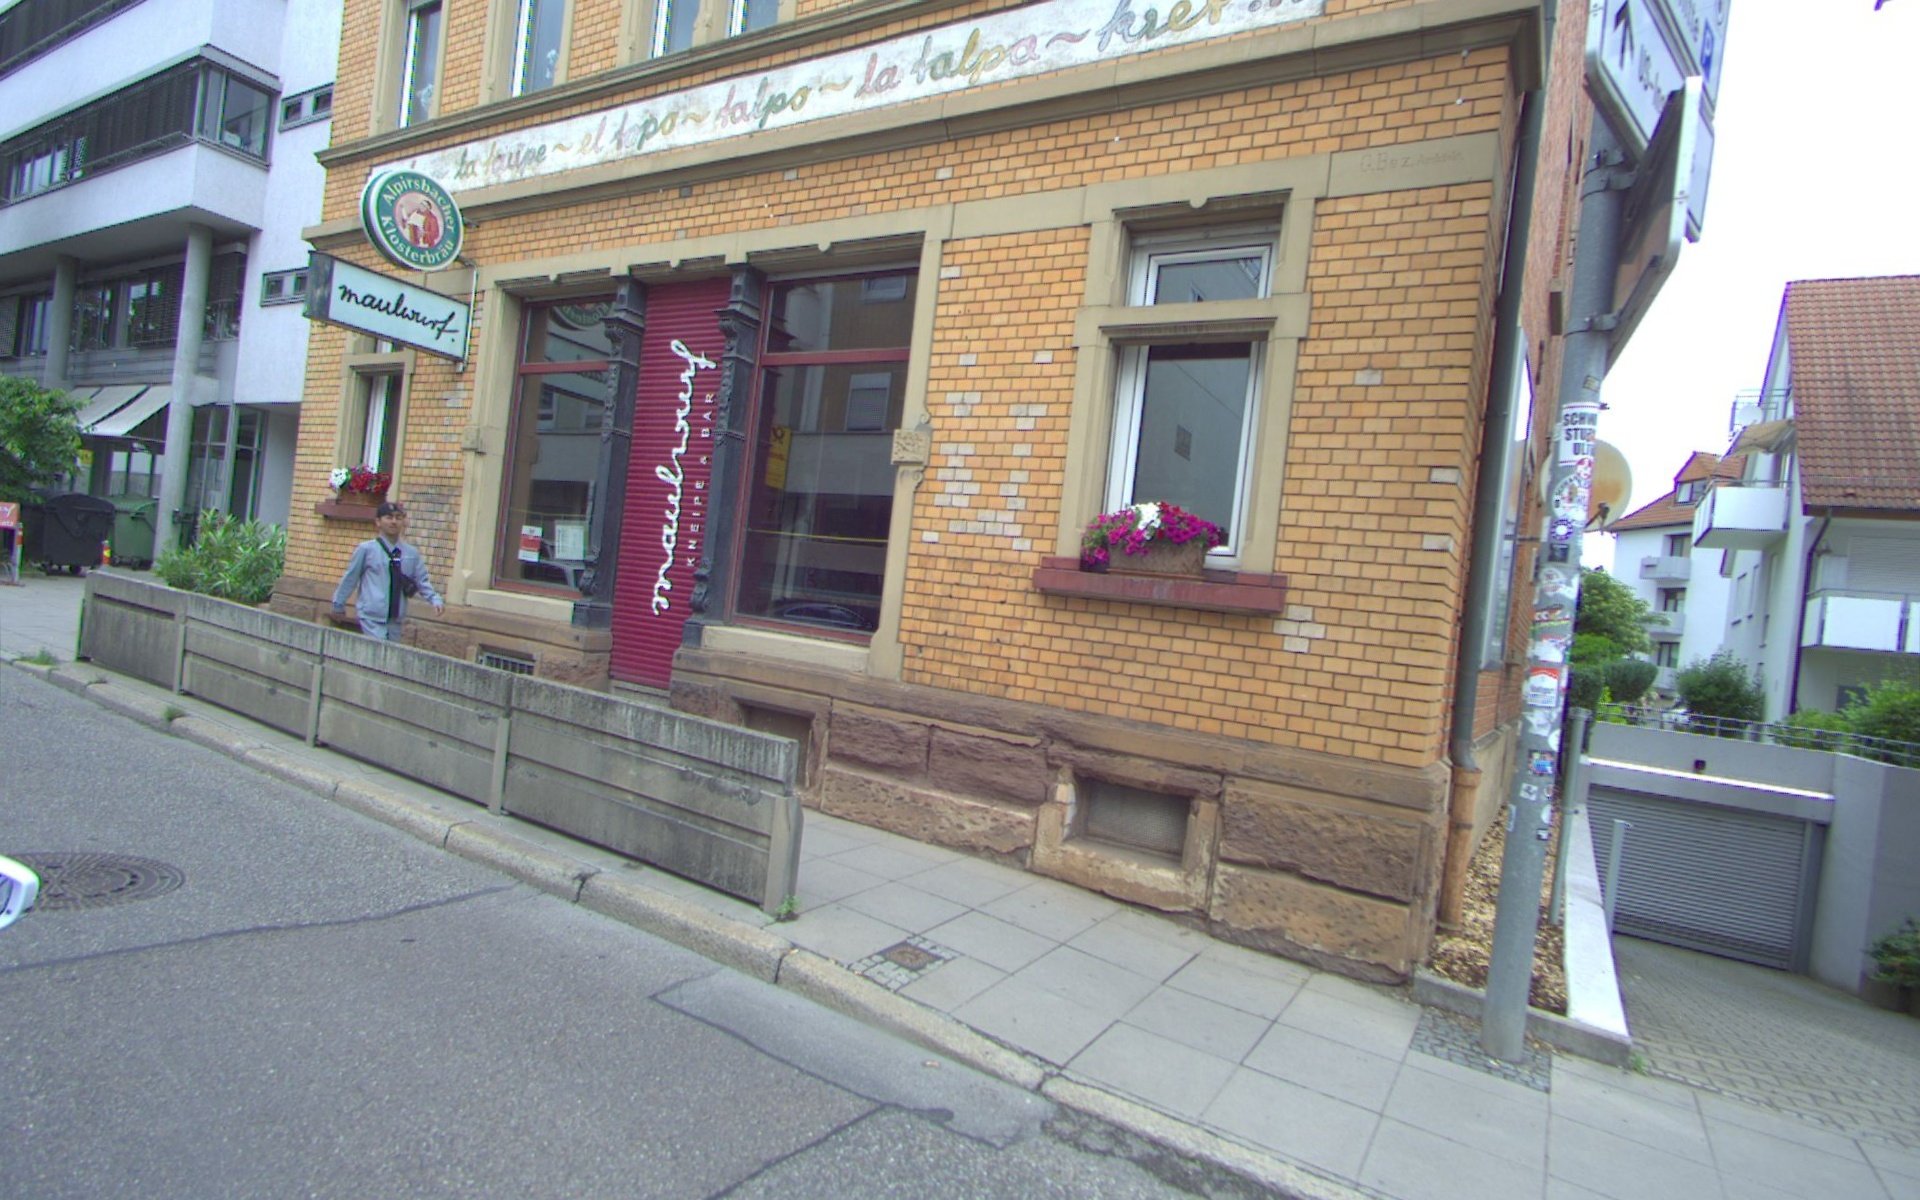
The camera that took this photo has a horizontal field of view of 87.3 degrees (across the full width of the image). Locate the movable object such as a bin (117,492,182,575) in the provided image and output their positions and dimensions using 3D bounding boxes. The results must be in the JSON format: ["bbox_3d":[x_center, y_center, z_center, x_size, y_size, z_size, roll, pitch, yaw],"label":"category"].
[{"bbox_3d":[-16.799,-1.376,20.849,0.720,1.611,0.821,6,2,33],"label":"movable object such as a bin"}]

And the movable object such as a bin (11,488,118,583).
[{"bbox_3d":[-15.738,-1.131,17.679,1.421,1.489,0.944,7,2,29],"label":"movable object such as a bin"}]

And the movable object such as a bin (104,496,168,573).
[{"bbox_3d":[-17.415,-1.380,21.271,0.720,1.510,0.821,6,2,33],"label":"movable object such as a bin"}]

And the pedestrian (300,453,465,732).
[{"bbox_3d":[-4.489,-0.054,7.838,0.665,2.038,0.694,7,1,30],"label":"pedestrian"}]

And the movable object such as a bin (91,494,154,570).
[{"bbox_3d":[-18.038,-1.455,21.672,0.720,1.524,0.821,6,2,33],"label":"movable object such as a bin"}]
